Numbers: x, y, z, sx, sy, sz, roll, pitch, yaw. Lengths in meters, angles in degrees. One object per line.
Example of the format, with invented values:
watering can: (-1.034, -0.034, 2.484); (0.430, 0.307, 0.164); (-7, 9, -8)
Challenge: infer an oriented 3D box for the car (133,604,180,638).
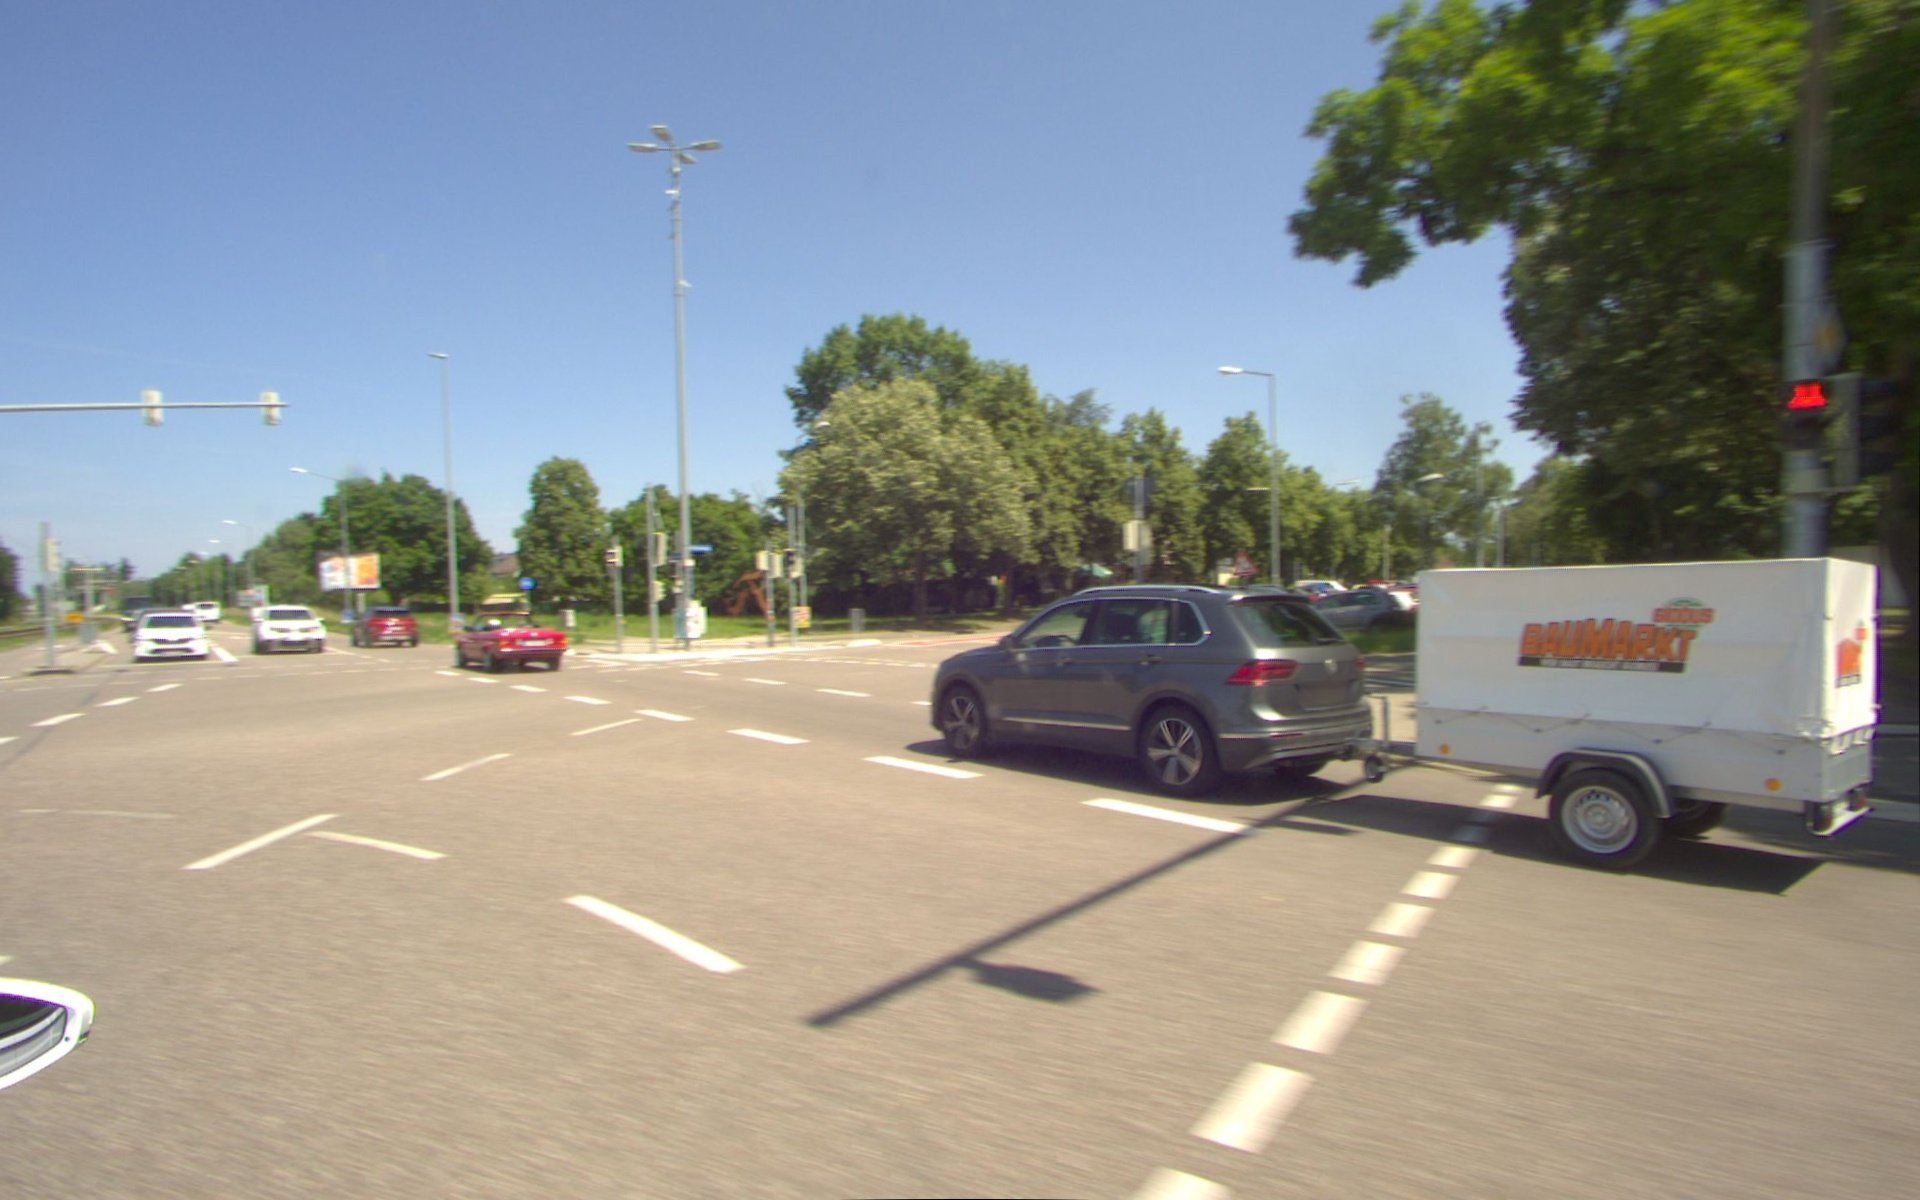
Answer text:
car: (-39.433, 0.996, 49.205); (1.710, 1.597, 4.378); (-1, 0, -38)

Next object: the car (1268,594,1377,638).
car: (12.811, 0.577, 35.416); (3.440, 1.447, 1.578); (-2, -2, 29)

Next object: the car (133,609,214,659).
car: (-24.400, 1.009, 31.144); (1.852, 1.407, 4.378); (-1, 0, -38)

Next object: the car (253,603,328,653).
car: (-23.143, 0.909, 34.528); (1.853, 1.597, 4.378); (-1, 0, -38)

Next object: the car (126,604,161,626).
car: (-60.931, 1.084, 74.761); (1.853, 1.597, 4.378); (-1, 0, -38)

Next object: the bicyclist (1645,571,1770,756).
bicyclist: (6.307, 0.516, 8.482); (0.604, 1.488, 0.628); (-2, 3, 6)

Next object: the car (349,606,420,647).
car: (-22.660, 0.999, 39.384); (1.827, 1.479, 4.378); (-2, 1, -38)

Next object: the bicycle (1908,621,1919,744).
bicycle: (8.658, 0.759, 7.993); (0.604, 1.078, 1.804); (-2, 3, 6)

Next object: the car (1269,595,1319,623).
car: (16.133, 0.451, 48.327); (1.562, 1.242, 3.475); (-2, -2, 31)

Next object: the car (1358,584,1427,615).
car: (24.325, 0.002, 56.315); (3.440, 1.600, 1.578); (-2, -2, 29)

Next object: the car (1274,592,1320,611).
car: (28.434, 0.156, 84.423); (3.440, 1.495, 1.578); (-2, -2, 29)

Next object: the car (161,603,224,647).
car: (-29.955, 0.936, 39.117); (1.853, 1.597, 4.378); (-1, 0, -38)

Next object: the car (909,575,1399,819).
car: (1.488, 0.682, 9.155); (1.711, 1.680, 4.373); (-1, 0, -38)

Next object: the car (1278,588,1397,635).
car: (12.049, 0.395, 31.959); (3.436, 1.447, 1.579); (-1, -1, 26)

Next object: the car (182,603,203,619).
car: (-84.783, 1.225, 110.592); (1.754, 1.778, 3.966); (1, -1, -40)

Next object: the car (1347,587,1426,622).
car: (21.030, 0.238, 49.398); (3.440, 1.574, 1.578); (-2, -2, 29)

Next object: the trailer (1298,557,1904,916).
trailer: (3.787, 0.648, 6.249); (1.392, 1.676, 2.914); (-1, 0, -39)

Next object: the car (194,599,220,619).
car: (-69.460, 0.858, 92.321); (1.754, 1.778, 3.966); (1, -1, -40)

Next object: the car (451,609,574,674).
car: (-10.721, 0.924, 23.827); (1.745, 1.366, 4.278); (0, 0, -38)
